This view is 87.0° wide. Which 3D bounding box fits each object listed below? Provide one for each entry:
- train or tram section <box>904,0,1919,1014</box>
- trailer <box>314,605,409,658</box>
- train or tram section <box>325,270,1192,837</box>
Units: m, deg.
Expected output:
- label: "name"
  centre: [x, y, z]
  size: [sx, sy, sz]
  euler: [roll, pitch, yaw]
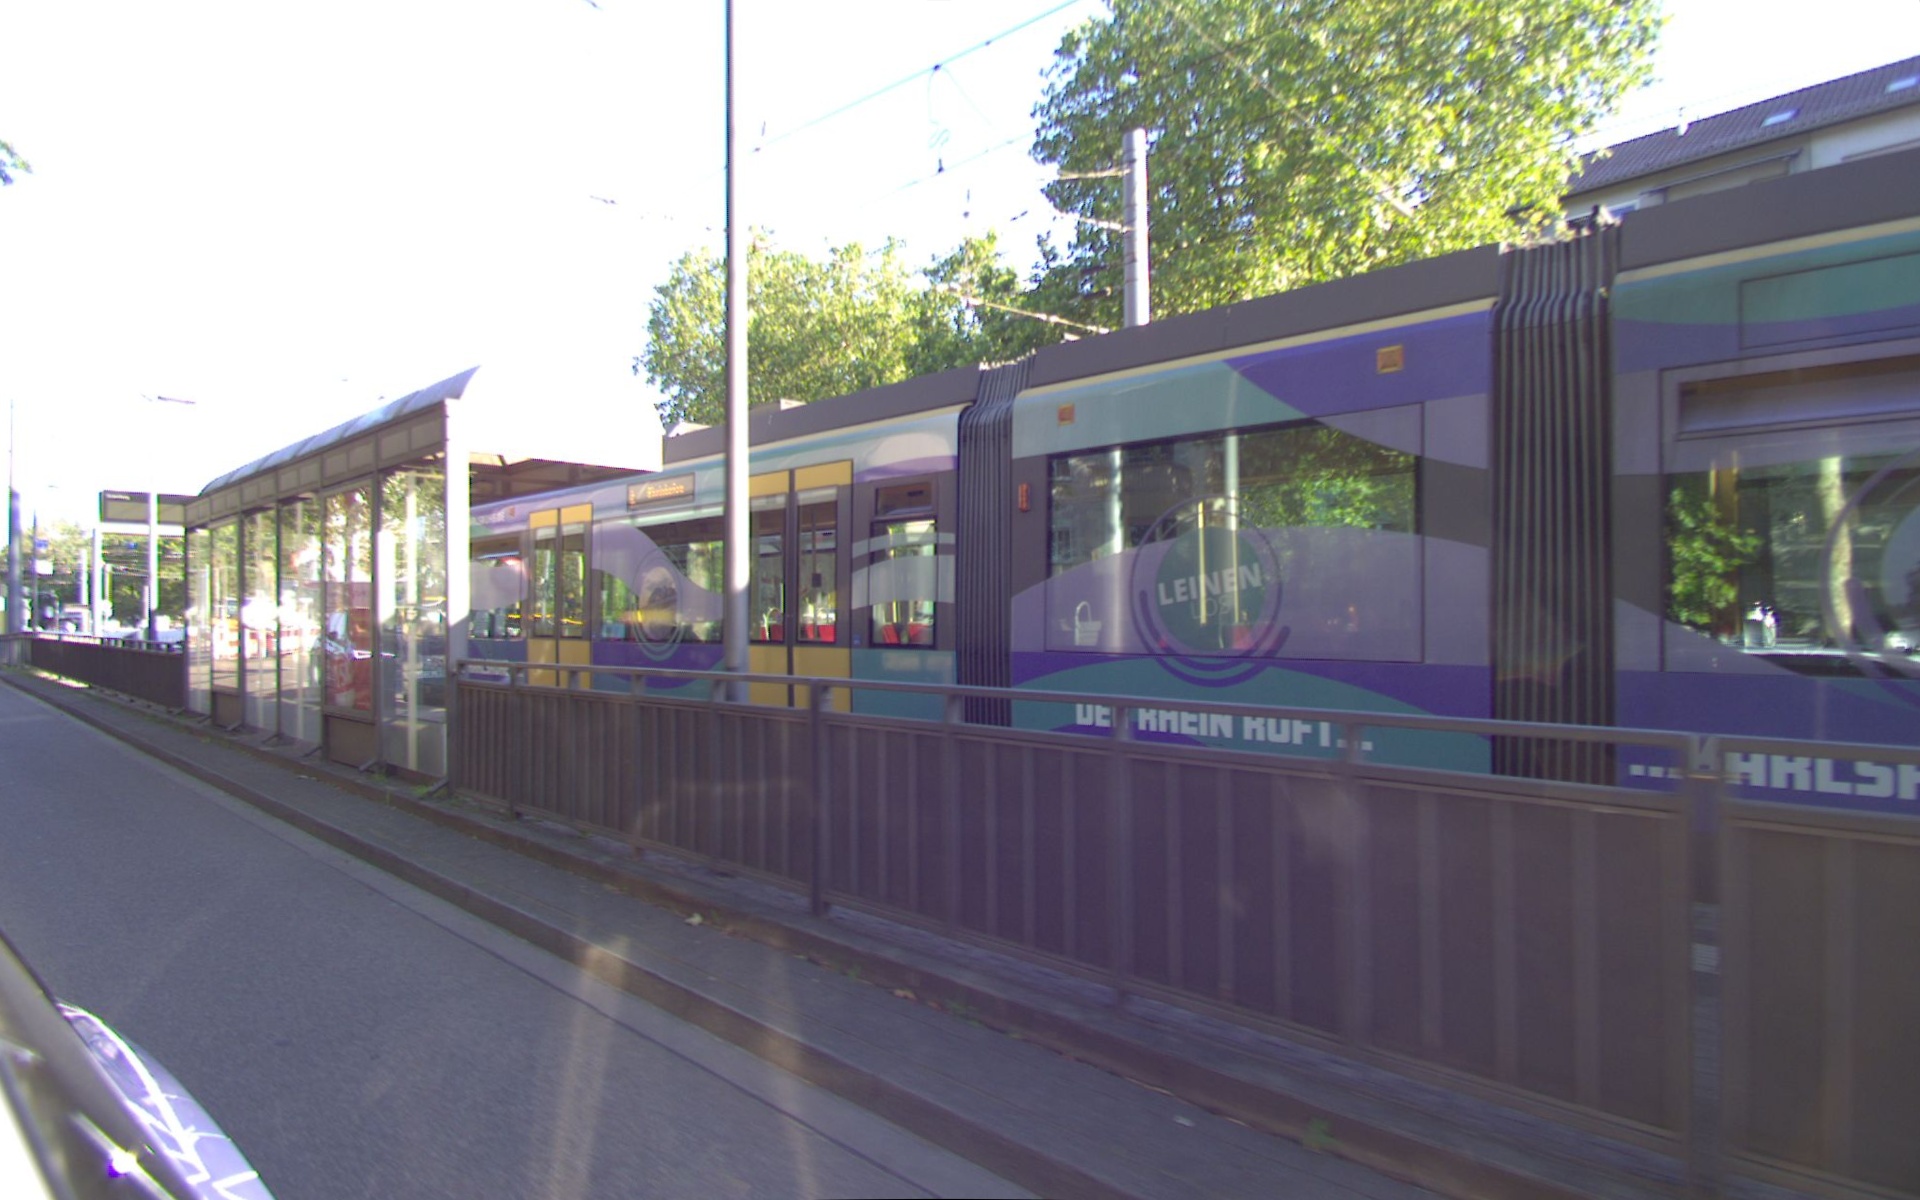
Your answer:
- label: "train or tram section"
  centre: [5.193, -0.408, 3.441]
  size: [12.785, 3.576, 2.699]
  euler: [-1, -2, 43]
- label: "trailer"
  centre: [-25.896, 1.363, 43.777]
  size: [4.337, 2.131, 1.976]
  euler: [-3, -2, 36]
- label: "train or tram section"
  centre: [-3.913, -0.174, 11.978]
  size: [13.397, 3.560, 2.818]
  euler: [-1, -2, 43]
